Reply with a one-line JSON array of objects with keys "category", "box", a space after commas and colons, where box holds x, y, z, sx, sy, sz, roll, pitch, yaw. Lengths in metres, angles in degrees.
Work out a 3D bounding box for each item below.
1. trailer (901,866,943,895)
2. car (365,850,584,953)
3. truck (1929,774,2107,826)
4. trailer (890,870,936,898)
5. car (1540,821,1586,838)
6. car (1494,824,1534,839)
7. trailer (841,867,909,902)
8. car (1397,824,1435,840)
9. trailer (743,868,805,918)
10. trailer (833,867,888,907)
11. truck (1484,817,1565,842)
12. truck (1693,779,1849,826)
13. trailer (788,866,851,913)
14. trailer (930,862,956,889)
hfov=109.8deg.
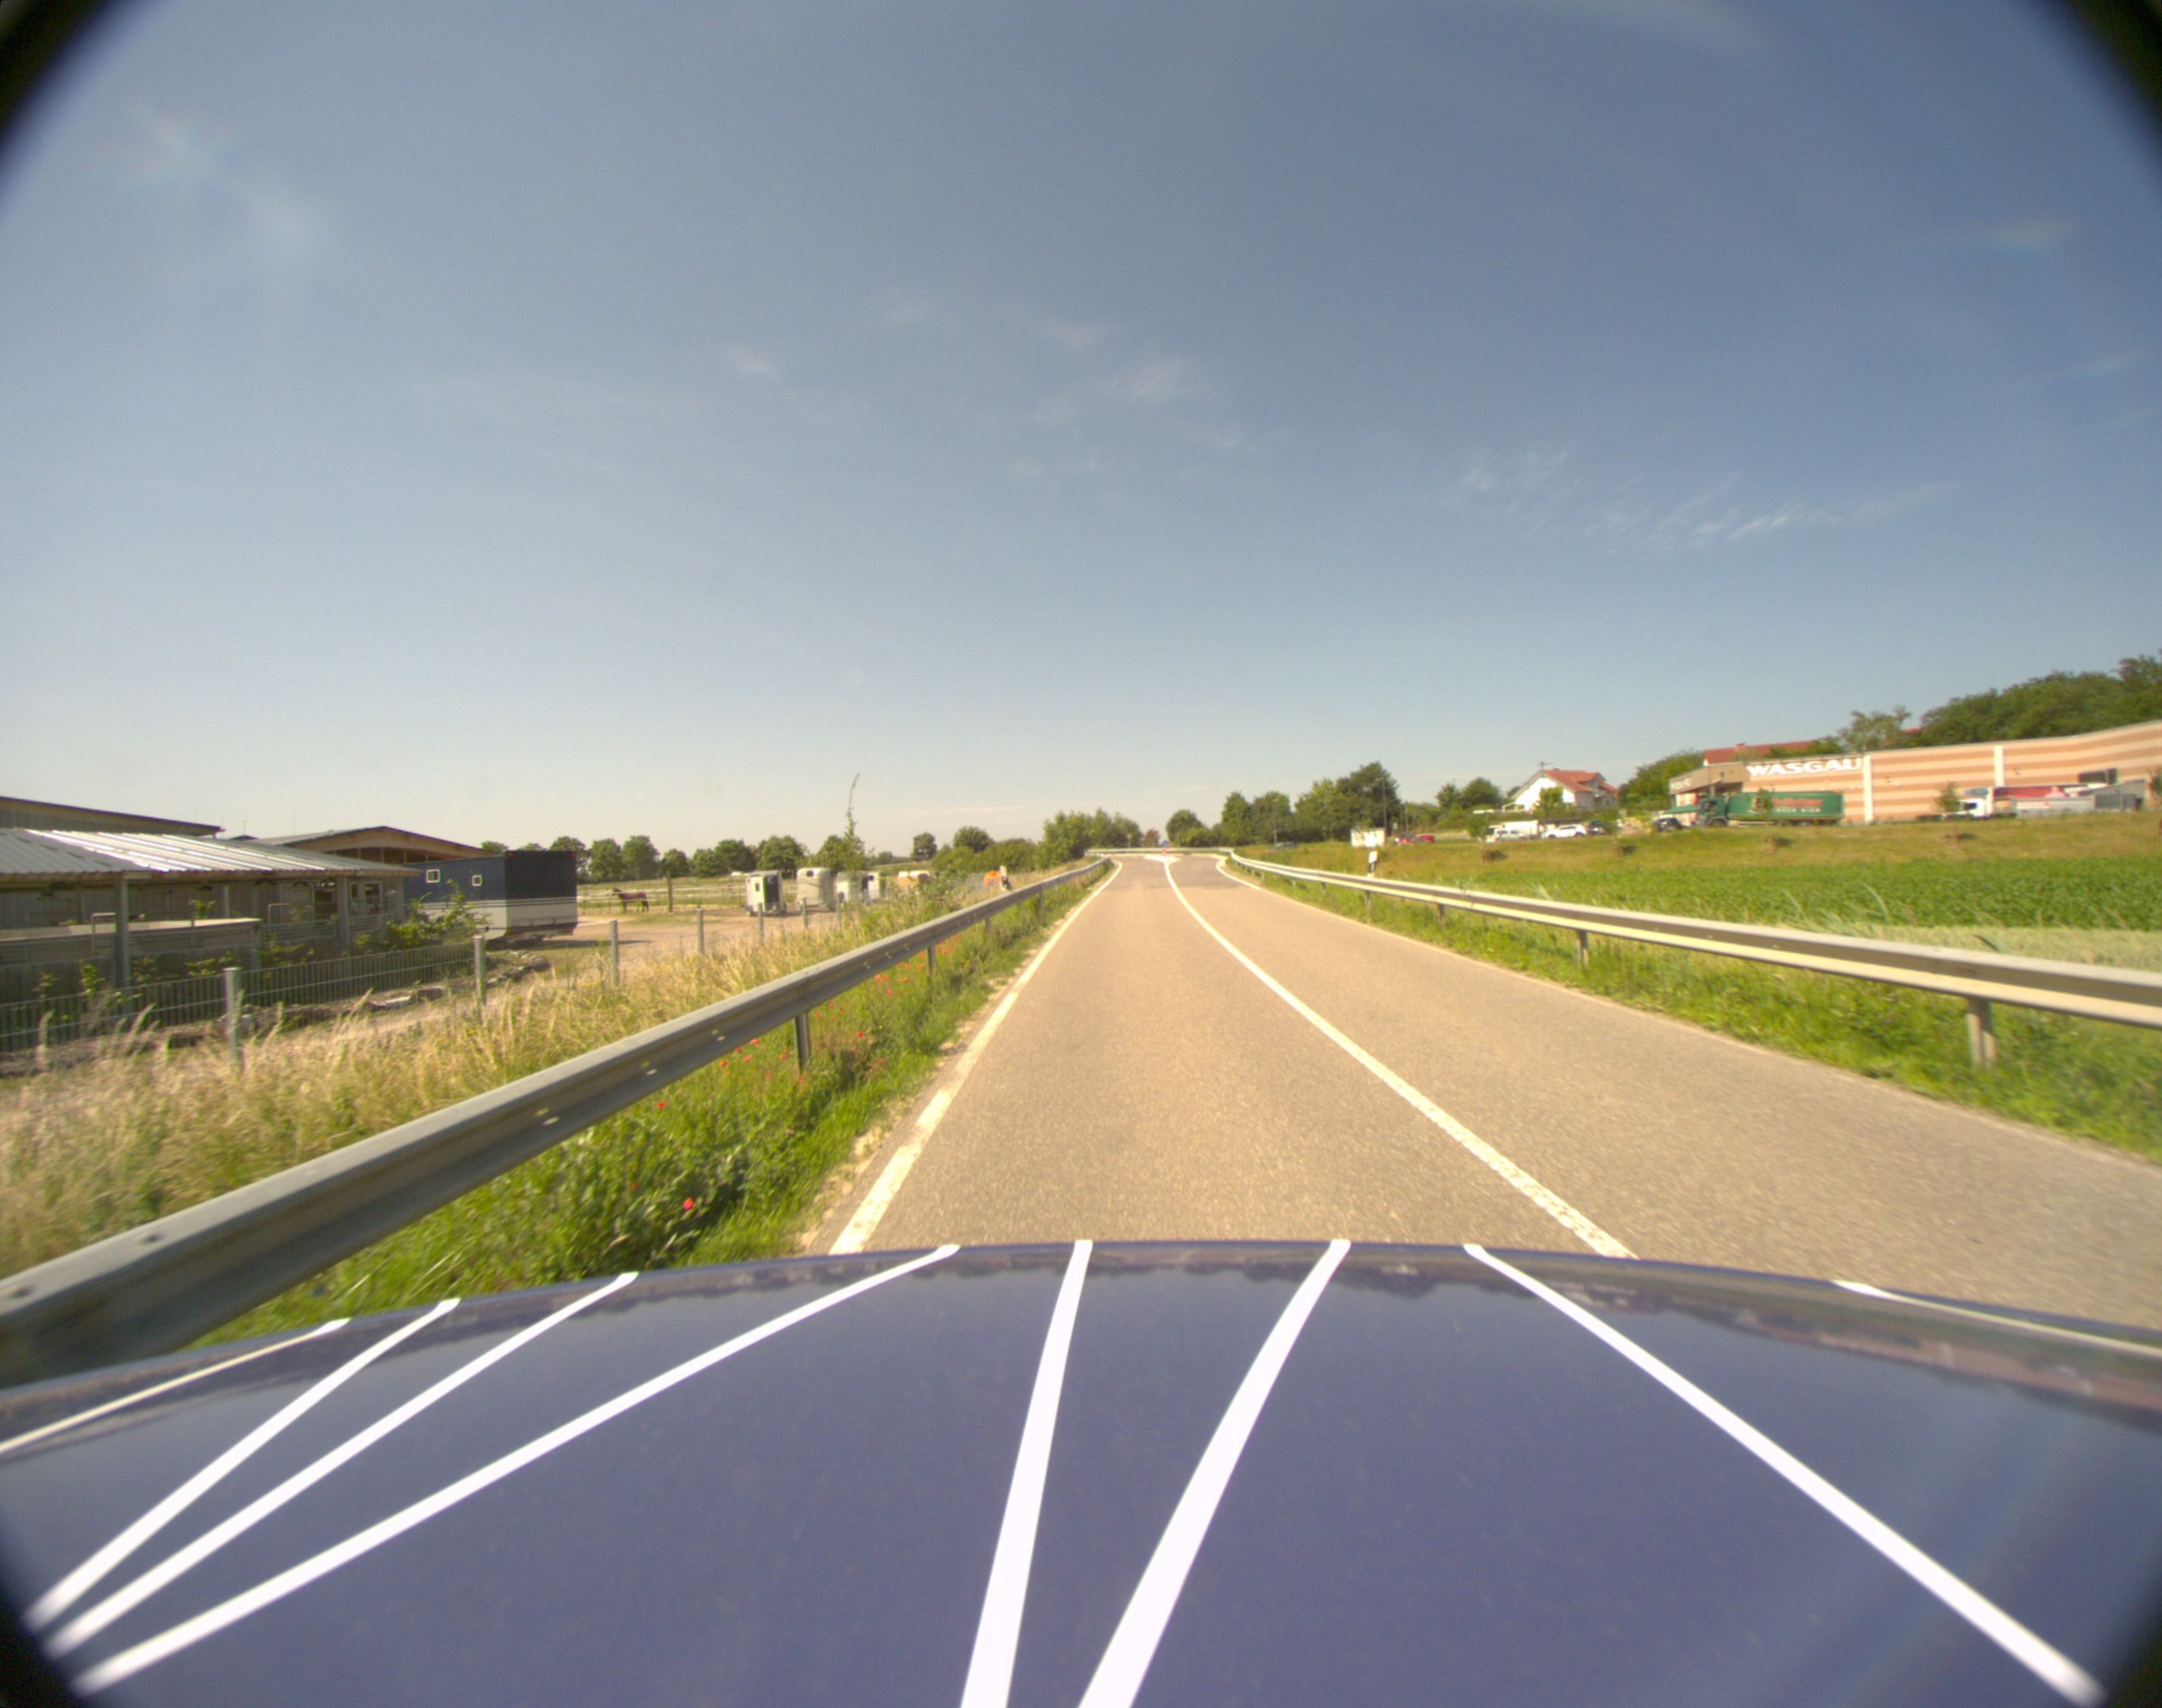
[{"category": "trailer", "box": [-16.369, 2.716, 78.188, 3.412, 2.789, 2.168, -3, 1, 25]}, {"category": "car", "box": [-24.052, 1.910, 30.055, 8.976, 3.631, 2.784, -3, 0, 24]}, {"category": "truck", "box": [77.633, -4.402, 63.259, 8.860, 3.544, 2.882, -3, 2, 29]}, {"category": "trailer", "box": [-16.468, 2.946, 74.506, 4.083, 2.376, 2.010, -5, -1, 34]}, {"category": "car", "box": [55.341, -2.791, 87.307, 4.323, 1.694, 2.003, -3, 2, 27]}, {"category": "car", "box": [55.134, -2.877, 96.862, 4.323, 1.589, 2.003, -3, 2, 26]}, {"category": "trailer", "box": [-17.104, 2.538, 63.111, 5.176, 2.672, 2.212, -3, 0, 27]}, {"category": "car", "box": [43.492, -2.841, 98.602, 4.322, 1.694, 2.003, -3, 2, 30]}, {"category": "trailer", "box": [-18.366, 2.257, 45.358, 2.179, 2.655, 4.468, -2, 1, -38]}, {"category": "trailer", "box": [-15.147, 2.242, 52.060, 1.830, 2.613, 4.541, 2, -3, -42]}, {"category": "truck", "box": [69.637, -3.861, 119.477, 10.703, 3.173, 2.448, -3, 2, 13]}, {"category": "truck", "box": [61.491, -4.538, 68.163, 9.916, 3.458, 2.883, -3, 2, 32]}, {"category": "trailer", "box": [-16.941, 2.246, 49.152, 2.238, 2.847, 5.031, -2, 0, -38]}, {"category": "trailer", "box": [-15.433, 2.433, 84.935, 2.001, 2.788, 3.373, -6, -1, -20]}]
